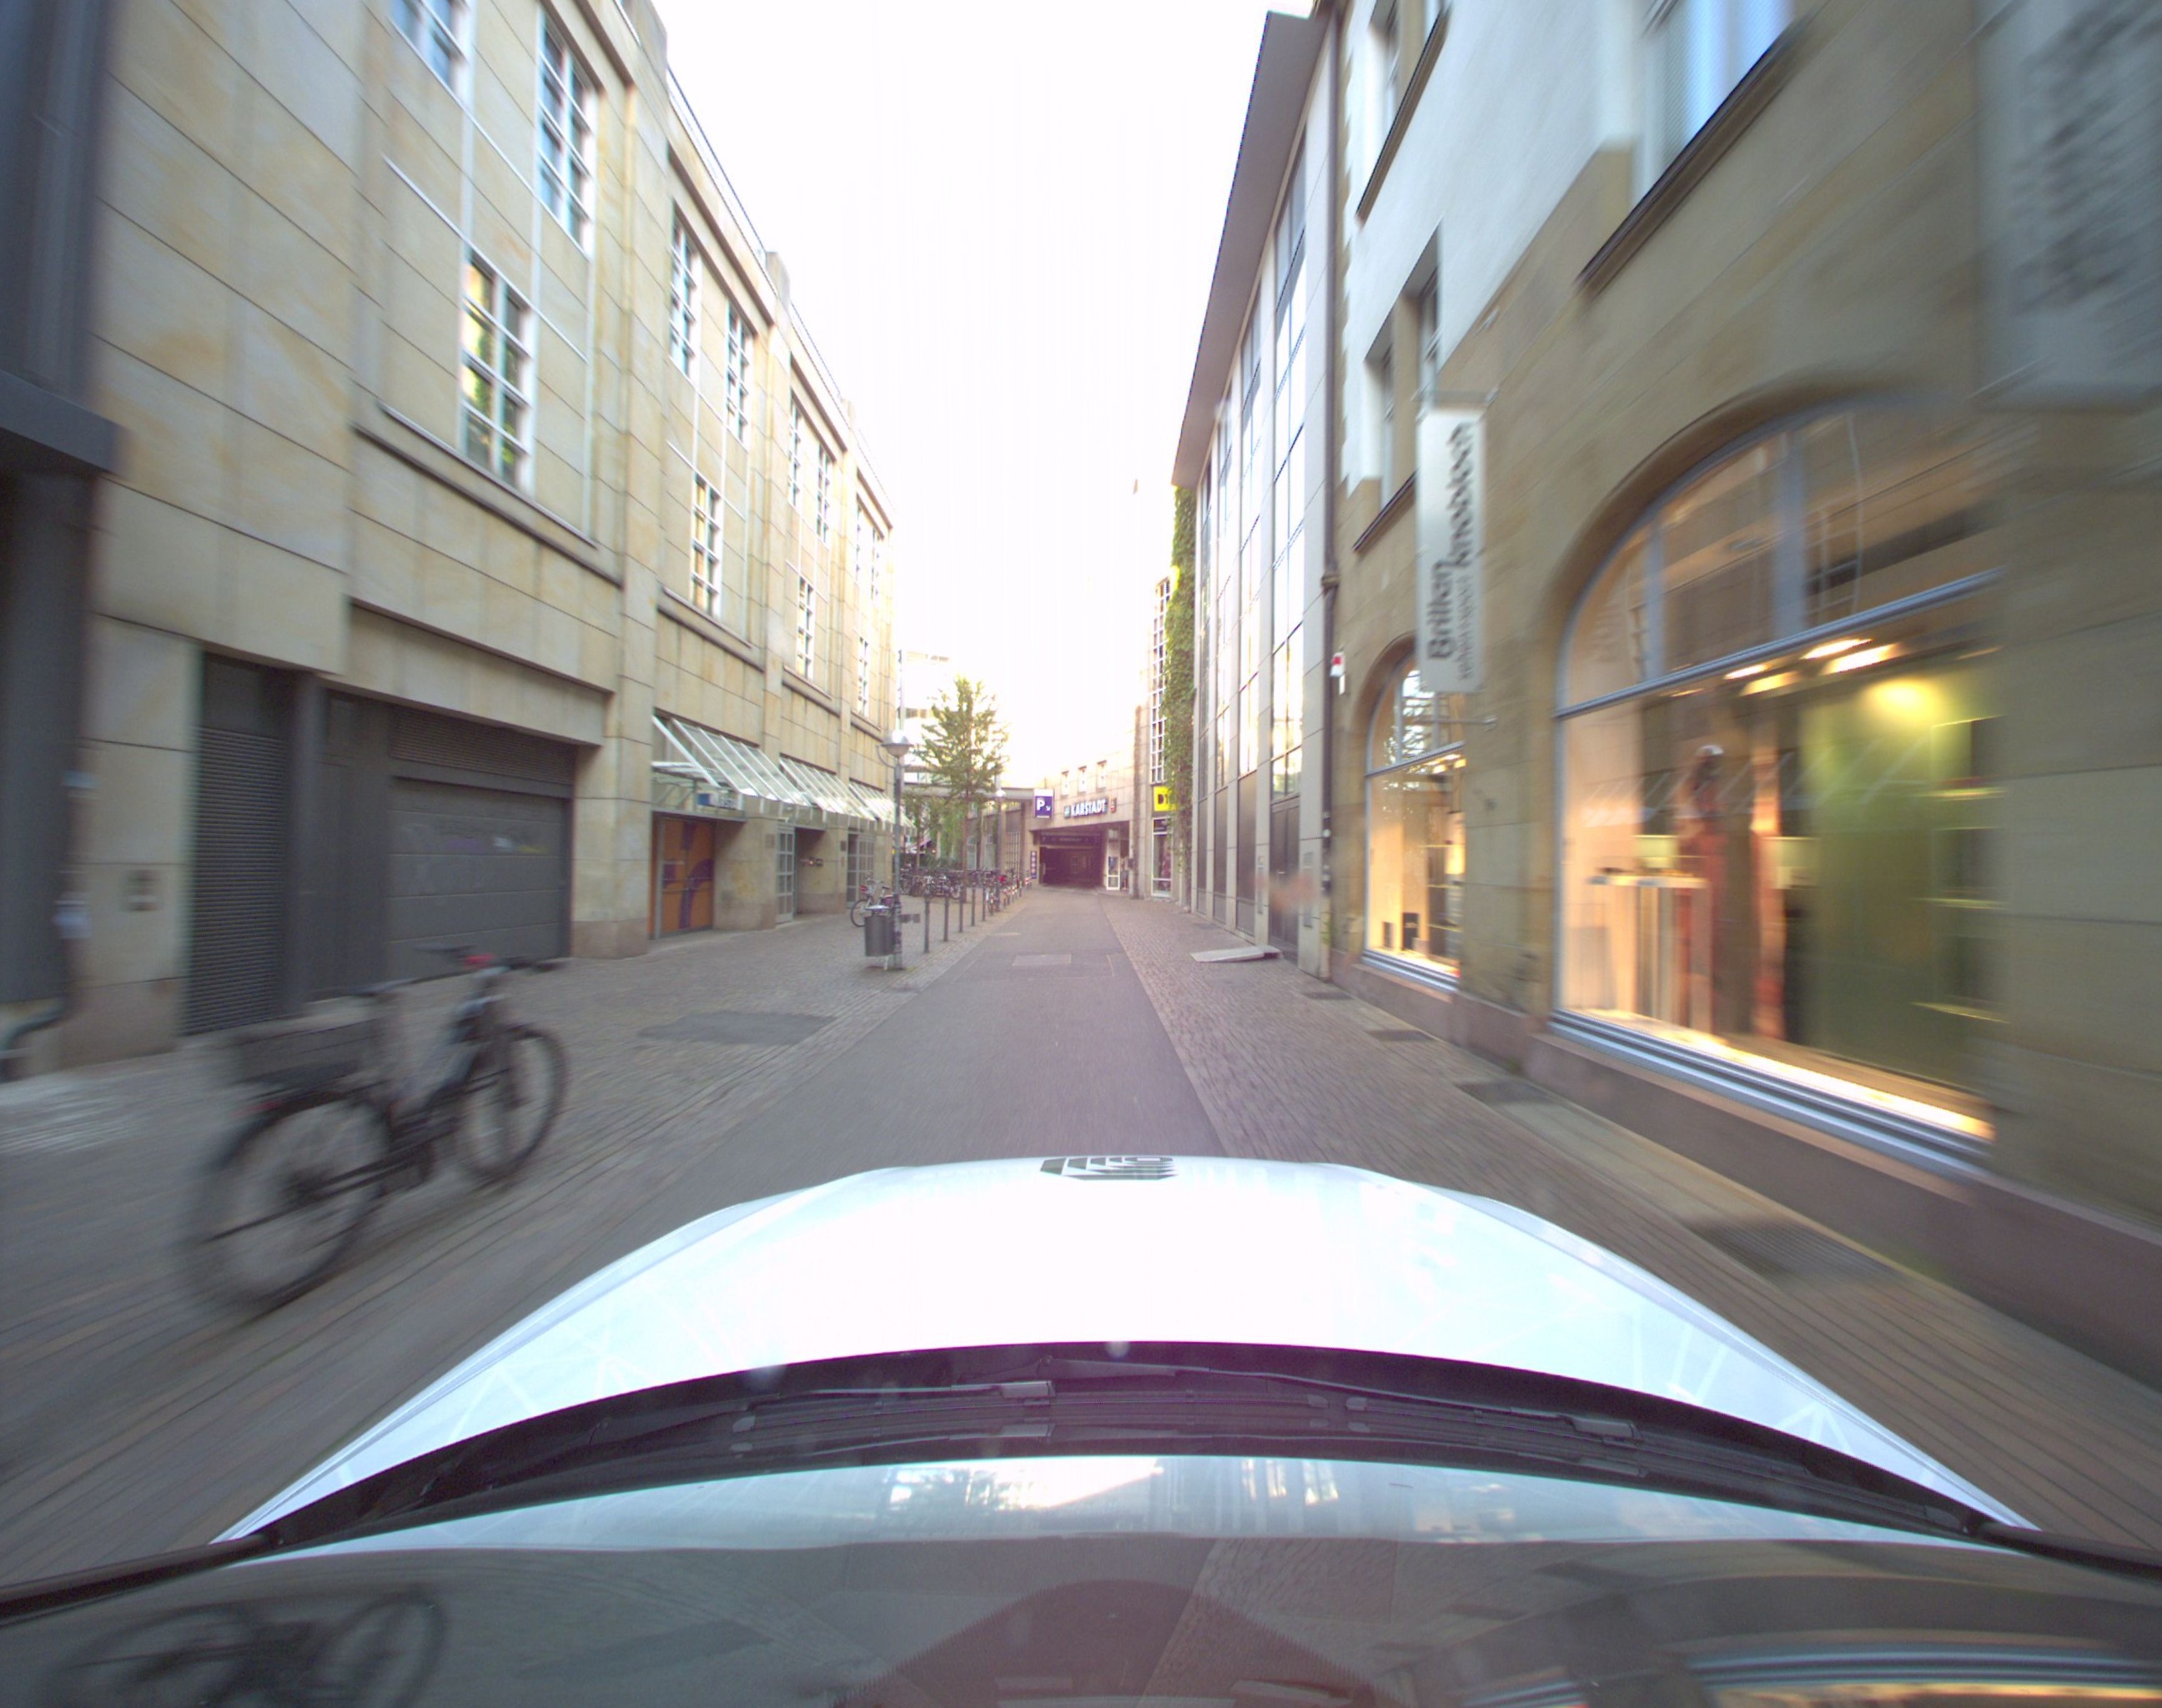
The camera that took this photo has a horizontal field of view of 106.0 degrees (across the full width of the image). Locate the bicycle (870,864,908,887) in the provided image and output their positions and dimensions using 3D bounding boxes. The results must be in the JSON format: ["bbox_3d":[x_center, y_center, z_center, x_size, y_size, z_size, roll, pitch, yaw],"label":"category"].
[{"bbox_3d":[-10.054,1.145,42.680,1.918,1.182,0.692,1,-1,-18],"label":"bicycle"}]

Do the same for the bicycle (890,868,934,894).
[{"bbox_3d":[-7.751,1.220,37.280,1.918,1.182,0.692,1,-1,-18],"label":"bicycle"}]

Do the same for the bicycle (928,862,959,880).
[{"bbox_3d":[-9.724,1.174,57.562,2.001,1.182,0.689,-1,0,-20],"label":"bicycle"}]

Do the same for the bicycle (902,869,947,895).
[{"bbox_3d":[-6.981,1.250,36.394,1.918,1.102,0.692,1,-1,-18],"label":"bicycle"}]

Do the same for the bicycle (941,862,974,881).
[{"bbox_3d":[-8.212,1.139,54.157,2.001,1.182,0.689,-1,0,-20],"label":"bicycle"}]

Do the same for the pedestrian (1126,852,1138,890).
[{"bbox_3d":[2.488,0.832,39.786,0.540,1.861,0.409,1,0,6],"label":"pedestrian"}]

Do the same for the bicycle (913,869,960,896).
[{"bbox_3d":[-6.244,1.223,35.221,1.920,1.102,0.691,1,-1,-21],"label":"bicycle"}]

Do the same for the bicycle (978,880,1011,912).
[{"bbox_3d":[-2.821,1.341,26.606,0.501,0.966,1.701,0,-1,15],"label":"bicycle"}]

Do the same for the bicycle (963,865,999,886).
[{"bbox_3d":[-5.848,1.239,47.626,2.001,1.182,0.691,-1,0,-20],"label":"bicycle"}]

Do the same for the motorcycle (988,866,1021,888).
[{"bbox_3d":[-4.230,1.278,45.122,1.750,1.155,0.591,-1,0,-18],"label":"motorcycle"}]

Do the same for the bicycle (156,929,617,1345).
[{"bbox_3d":[-2.732,0.977,3.530,0.409,1.132,1.928,1,0,-3],"label":"bicycle"}]

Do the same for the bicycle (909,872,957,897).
[{"bbox_3d":[-6.242,1.279,34.301,1.920,0.994,0.691,1,-1,-21],"label":"bicycle"}]

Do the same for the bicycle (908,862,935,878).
[{"bbox_3d":[-12.392,1.245,63.175,2.001,1.182,0.689,-1,0,-20],"label":"bicycle"}]

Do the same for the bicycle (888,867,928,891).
[{"bbox_3d":[-8.698,1.247,40.955,1.918,1.182,0.692,1,-1,-18],"label":"bicycle"}]

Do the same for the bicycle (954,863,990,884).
[{"bbox_3d":[-6.648,1.190,49.626,2.001,1.182,0.797,-1,0,-20],"label":"bicycle"}]

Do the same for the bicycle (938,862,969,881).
[{"bbox_3d":[-8.660,1.188,55.222,2.001,1.182,0.689,-1,0,-20],"label":"bicycle"}]

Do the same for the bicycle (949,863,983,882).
[{"bbox_3d":[-7.355,1.165,52.054,2.001,1.182,0.689,-1,0,-20],"label":"bicycle"}]

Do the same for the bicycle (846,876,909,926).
[{"bbox_3d":[-4.895,1.118,19.694,0.688,1.112,1.783,0,-1,15],"label":"bicycle"}]

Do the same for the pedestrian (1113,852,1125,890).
[{"bbox_3d":[1.884,0.824,39.957,0.540,1.846,0.409,1,0,6],"label":"pedestrian"}]

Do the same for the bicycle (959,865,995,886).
[{"bbox_3d":[-6.190,1.258,48.500,2.001,1.182,0.797,-1,0,-20],"label":"bicycle"}]

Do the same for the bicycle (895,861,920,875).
[{"bbox_3d":[-14.574,1.178,68.433,2.001,1.182,0.689,-1,0,-20],"label":"bicycle"}]

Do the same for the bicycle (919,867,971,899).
[{"bbox_3d":[-5.497,1.145,32.904,1.920,1.261,0.803,1,-1,-21],"label":"bicycle"}]

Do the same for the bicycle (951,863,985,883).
[{"bbox_3d":[-7.092,1.173,51.071,2.001,1.182,0.797,-1,0,-20],"label":"bicycle"}]

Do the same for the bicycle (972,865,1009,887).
[{"bbox_3d":[-5.203,1.253,46.779,2.001,1.182,0.691,-1,0,-20],"label":"bicycle"}]

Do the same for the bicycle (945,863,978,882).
[{"bbox_3d":[-7.784,1.175,52.929,2.001,1.182,0.689,-1,0,-20],"label":"bicycle"}]
